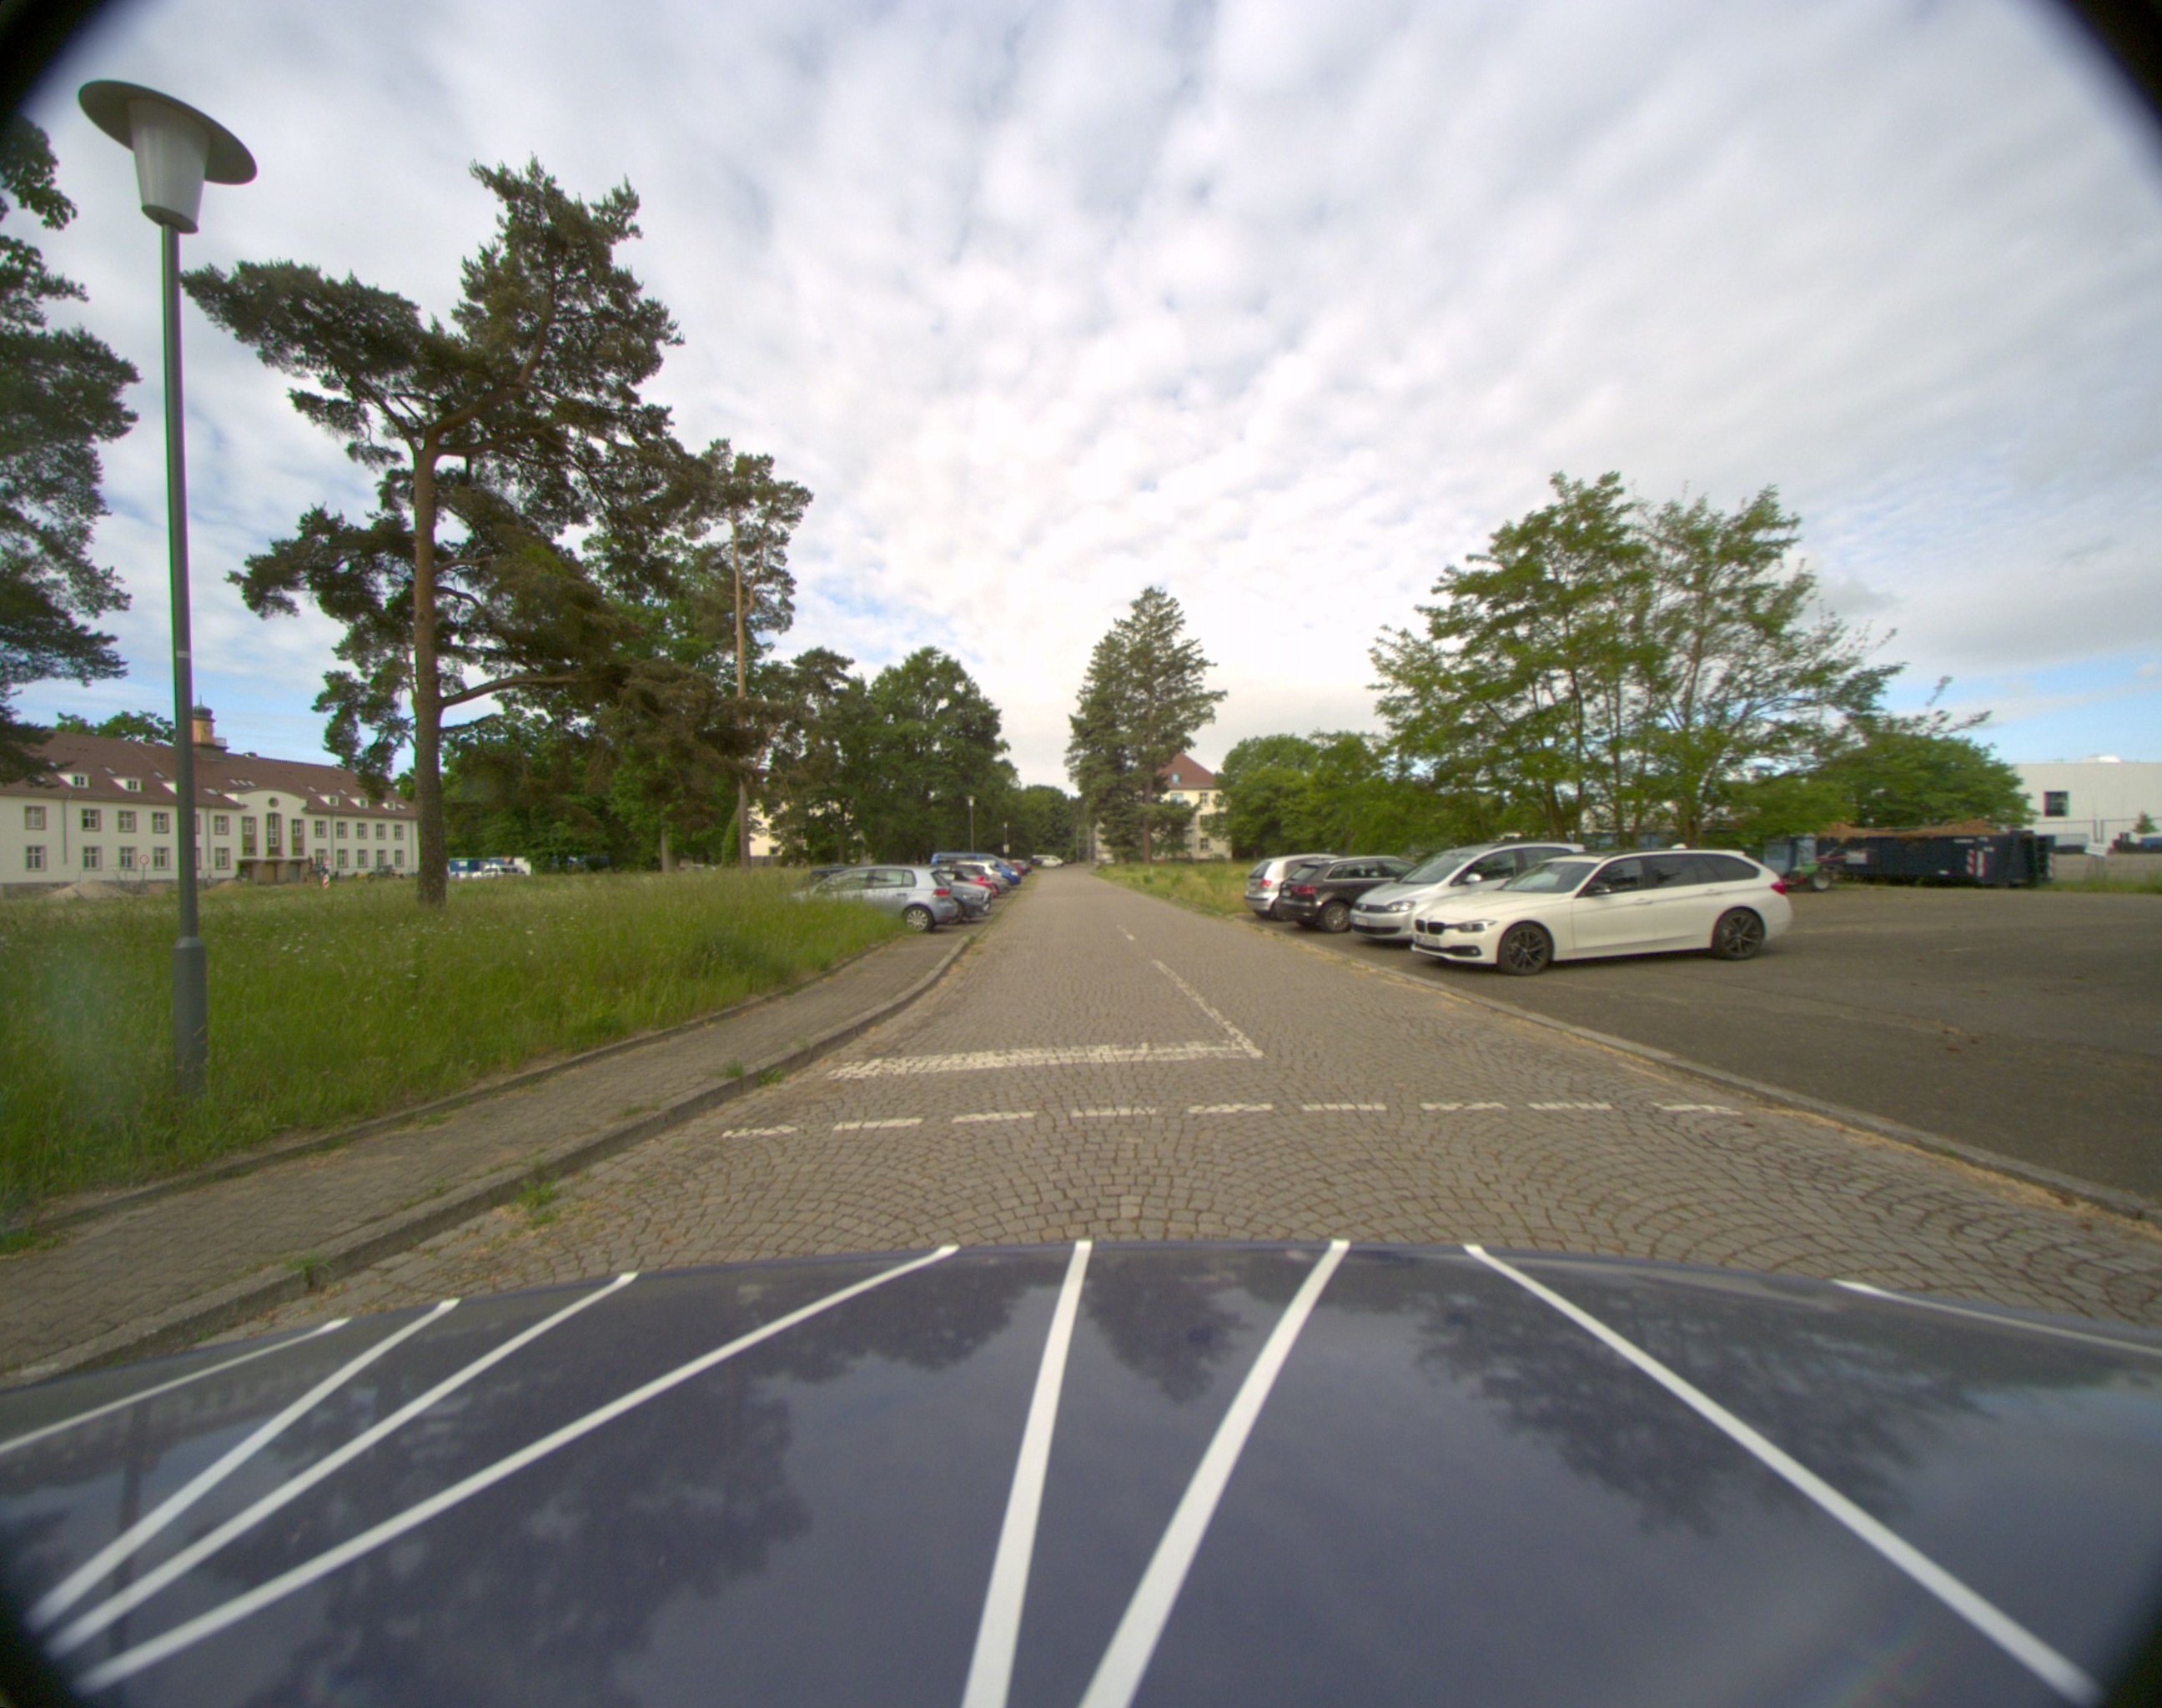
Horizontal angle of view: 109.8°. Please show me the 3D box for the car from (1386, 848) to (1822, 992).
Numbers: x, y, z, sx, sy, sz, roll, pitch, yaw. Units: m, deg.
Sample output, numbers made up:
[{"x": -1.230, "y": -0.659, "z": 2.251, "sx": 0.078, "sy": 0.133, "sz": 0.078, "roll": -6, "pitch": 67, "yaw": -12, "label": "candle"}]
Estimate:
[{"x": 6.757, "y": 0.777, "z": 10.090, "sx": 4.661, "sy": 1.435, "sz": 1.801, "roll": -3, "pitch": 1, "yaw": -6, "label": "car"}]

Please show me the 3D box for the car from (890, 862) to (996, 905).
[{"x": -5.250, "y": 1.118, "z": 29.321, "sx": 3.787, "sy": 1.497, "sz": 1.798, "roll": -1, "pitch": 0, "yaw": -4, "label": "car"}]

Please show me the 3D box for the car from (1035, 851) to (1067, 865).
[{"x": -4.891, "y": 0.630, "z": 123.305, "sx": 5.031, "sy": 2.164, "sz": 2.000, "roll": -1, "pitch": 0, "yaw": 0, "label": "car"}]

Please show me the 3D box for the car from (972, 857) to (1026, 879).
[{"x": -6.419, "y": 1.096, "z": 59.701, "sx": 3.998, "sy": 1.521, "sz": 2.000, "roll": -2, "pitch": 0, "yaw": -2, "label": "car"}]

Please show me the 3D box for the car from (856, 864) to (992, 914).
[{"x": -4.946, "y": 1.083, "z": 24.355, "sx": 3.972, "sy": 1.443, "sz": 1.799, "roll": -1, "pitch": 0, "yaw": -2, "label": "car"}]

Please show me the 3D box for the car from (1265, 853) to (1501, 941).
[{"x": 5.968, "y": 0.802, "z": 15.314, "sx": 3.998, "sy": 1.419, "sz": 1.750, "roll": -4, "pitch": 1, "yaw": -3, "label": "car"}]

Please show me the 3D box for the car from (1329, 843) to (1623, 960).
[{"x": 6.445, "y": 0.720, "z": 12.635, "sx": 3.999, "sy": 1.538, "sz": 1.723, "roll": -3, "pitch": 1, "yaw": -7, "label": "car"}]

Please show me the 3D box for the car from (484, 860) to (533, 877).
[{"x": -71.171, "y": 1.788, "z": 94.572, "sx": 2.154, "sy": 2.002, "sz": 5.224, "roll": -1, "pitch": 0, "yaw": 1, "label": "car"}]

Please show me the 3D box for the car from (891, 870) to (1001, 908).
[{"x": -4.670, "y": 1.202, "z": 26.635, "sx": 3.600, "sy": 1.200, "sz": 1.494, "roll": -1, "pitch": 0, "yaw": -1, "label": "car"}]

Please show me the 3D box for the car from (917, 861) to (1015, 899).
[{"x": -4.821, "y": 1.081, "z": 32.226, "sx": 3.849, "sy": 1.448, "sz": 1.820, "roll": -1, "pitch": 0, "yaw": 0, "label": "car"}]

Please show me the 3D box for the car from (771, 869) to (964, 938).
[{"x": -4.558, "y": 1.040, "z": 16.615, "sx": 3.774, "sy": 1.418, "sz": 1.605, "roll": 0, "pitch": 0, "yaw": -3, "label": "car"}]

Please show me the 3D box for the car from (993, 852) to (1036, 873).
[{"x": -6.455, "y": 0.846, "z": 74.352, "sx": 3.997, "sy": 2.002, "sz": 2.000, "roll": -1, "pitch": 0, "yaw": -1, "label": "car"}]

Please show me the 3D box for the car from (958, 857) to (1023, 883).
[{"x": -5.834, "y": 1.023, "z": 49.387, "sx": 3.998, "sy": 1.601, "sz": 2.000, "roll": -1, "pitch": 0, "yaw": -2, "label": "car"}]

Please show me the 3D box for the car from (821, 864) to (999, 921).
[{"x": -4.855, "y": 1.085, "z": 22.095, "sx": 4.770, "sy": 1.474, "sz": 1.812, "roll": -1, "pitch": 0, "yaw": -2, "label": "car"}]

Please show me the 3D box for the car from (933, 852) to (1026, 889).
[{"x": -5.331, "y": 0.840, "z": 40.459, "sx": 4.750, "sy": 1.928, "sz": 1.999, "roll": 0, "pitch": 0, "yaw": -2, "label": "car"}]

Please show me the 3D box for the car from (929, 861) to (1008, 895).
[{"x": -5.149, "y": 1.082, "z": 35.040, "sx": 3.409, "sy": 1.443, "sz": 1.637, "roll": -1, "pitch": 0, "yaw": -1, "label": "car"}]

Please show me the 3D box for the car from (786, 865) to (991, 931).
[{"x": -4.726, "y": 1.076, "z": 19.251, "sx": 4.771, "sy": 1.474, "sz": 1.761, "roll": -1, "pitch": 0, "yaw": -5, "label": "car"}]

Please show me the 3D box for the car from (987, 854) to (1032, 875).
[{"x": -6.544, "y": 0.951, "z": 69.950, "sx": 4.008, "sy": 1.752, "sz": 2.000, "roll": -1, "pitch": 0, "yaw": -1, "label": "car"}]

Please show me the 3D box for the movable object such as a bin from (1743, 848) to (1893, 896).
[{"x": 18.988, "y": 0.458, "z": 19.667, "sx": 2.397, "sy": 1.154, "sz": 1.500, "roll": -1, "pitch": 0, "yaw": 3, "label": "movable object such as a bin"}]

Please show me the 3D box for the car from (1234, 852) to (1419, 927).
[{"x": 5.748, "y": 0.792, "z": 18.057, "sx": 3.689, "sy": 1.444, "sz": 1.807, "roll": -4, "pitch": 1, "yaw": -7, "label": "car"}]
